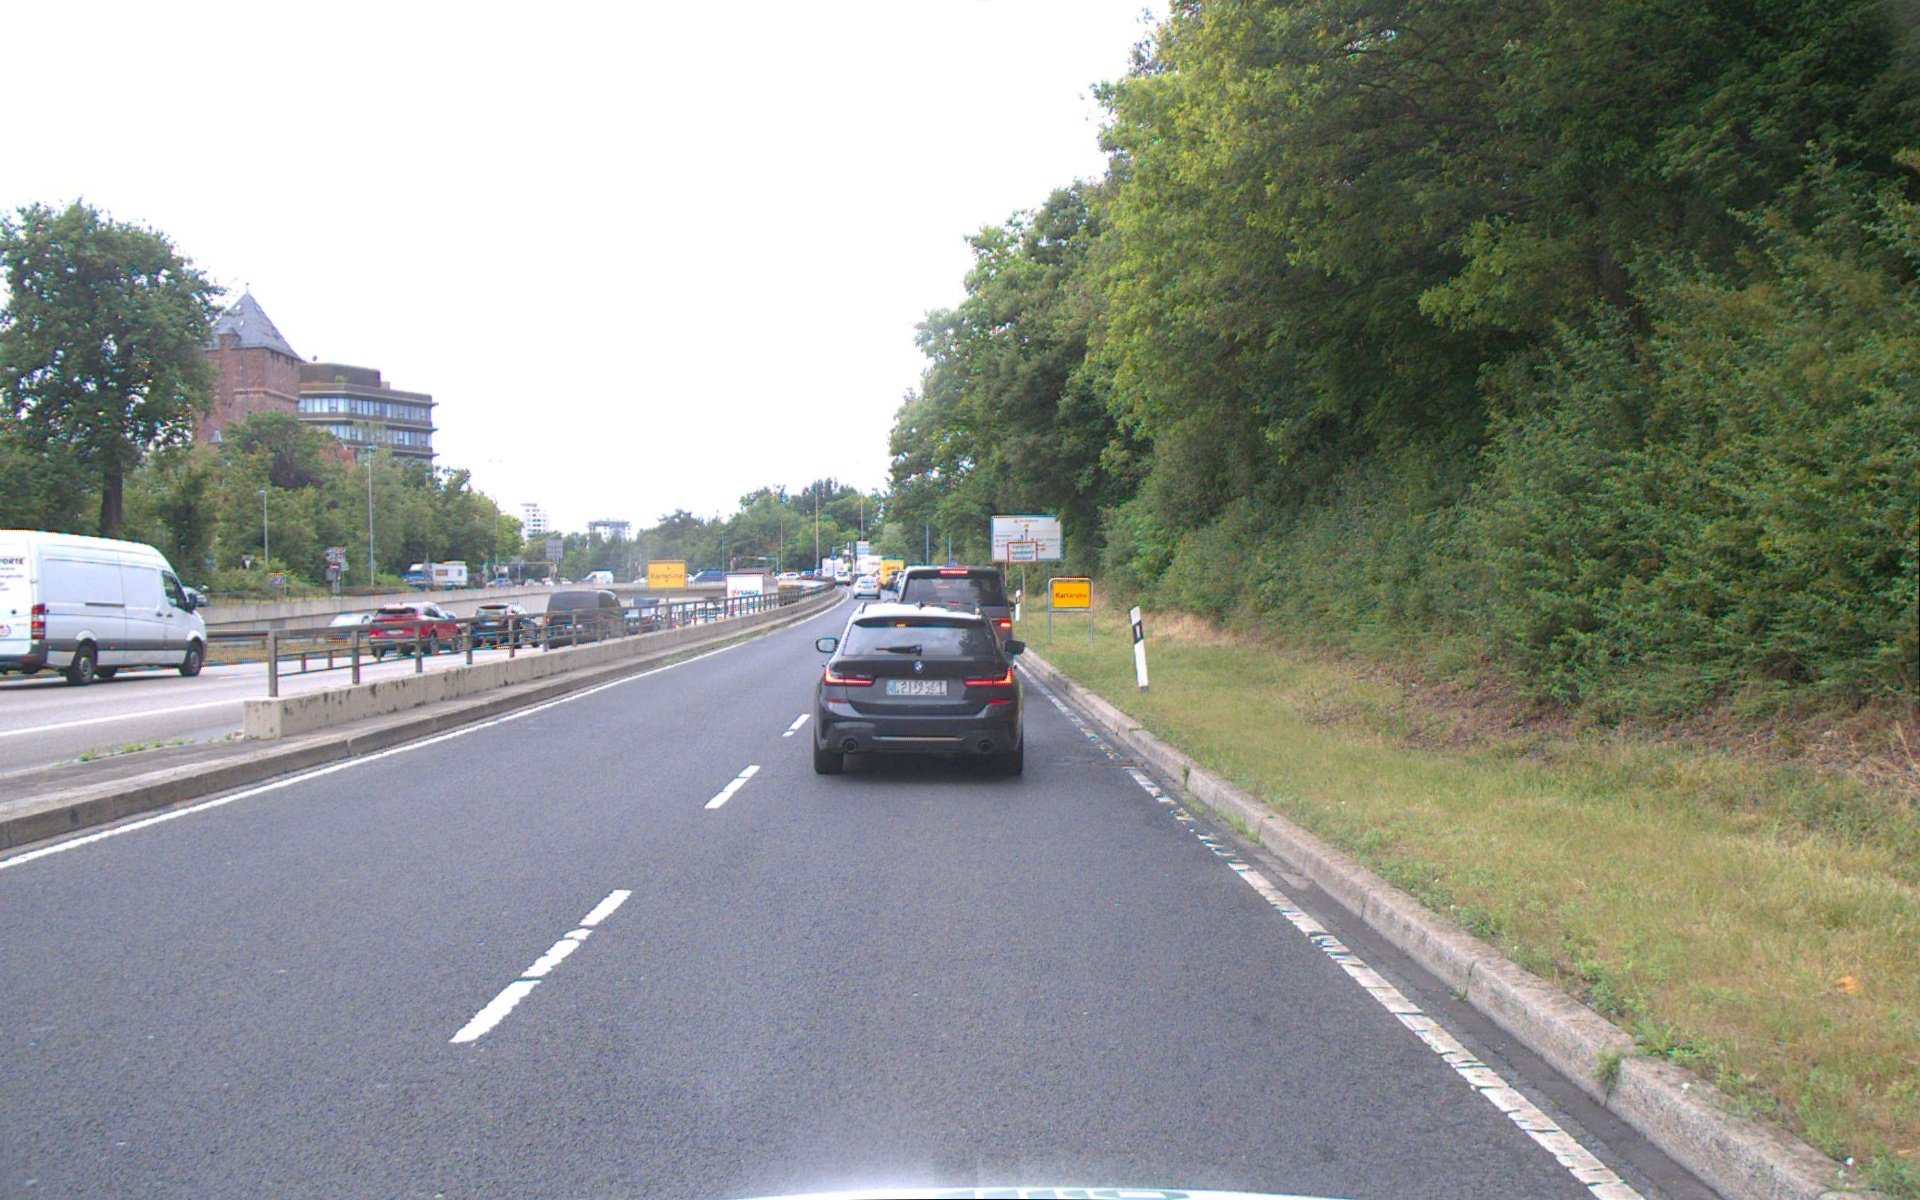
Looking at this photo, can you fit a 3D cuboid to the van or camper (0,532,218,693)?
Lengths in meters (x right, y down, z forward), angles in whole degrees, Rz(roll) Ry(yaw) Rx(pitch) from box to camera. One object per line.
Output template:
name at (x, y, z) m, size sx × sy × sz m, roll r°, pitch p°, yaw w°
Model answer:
van or camper at (-16.361, 0.195, 30.935) m, size 2.008 × 2.667 × 6.953 m, roll 0°, pitch 0°, yaw -2°

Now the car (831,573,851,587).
car at (-13.638, -2.303, 189.652) m, size 1.895 × 1.624 × 3.868 m, roll 0°, pitch 0°, yaw -9°

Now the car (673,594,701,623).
car at (-20.132, 0.591, 122.119) m, size 1.414 × 2.080 × 3.680 m, roll 0°, pitch 0°, yaw 0°

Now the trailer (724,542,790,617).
trailer at (-13.991, -1.337, 115.323) m, size 3.069 × 4.807 × 14.554 m, roll 1°, pitch 0°, yaw -1°

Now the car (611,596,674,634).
car at (-12.891, 0.595, 67.305) m, size 1.678 × 1.482 × 4.666 m, roll 0°, pitch 0°, yaw 0°

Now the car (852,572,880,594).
car at (-6.460, -1.141, 114.375) m, size 1.821 × 1.489 × 4.882 m, roll 0°, pitch 0°, yaw -2°

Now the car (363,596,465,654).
car at (-16.877, 0.744, 51.319) m, size 1.852 × 1.711 × 4.304 m, roll 0°, pitch 0°, yaw -2°

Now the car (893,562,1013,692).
car at (-0.132, 0.386, 26.194) m, size 1.759 × 1.904 × 3.999 m, roll 0°, pitch 0°, yaw -1°

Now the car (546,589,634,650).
car at (-11.954, 0.597, 53.709) m, size 1.953 × 1.883 × 4.809 m, roll 0°, pitch 0°, yaw -3°

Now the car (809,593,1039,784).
car at (-0.370, 0.689, 15.021) m, size 1.809 × 1.492 × 3.998 m, roll 0°, pitch 0°, yaw -3°

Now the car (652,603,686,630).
car at (-19.246, 1.070, 109.455) m, size 1.654 × 1.660 × 3.733 m, roll 1°, pitch 0°, yaw -2°

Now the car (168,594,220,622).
car at (-39.501, 0.392, 85.383) m, size 1.307 × 1.399 × 3.171 m, roll 0°, pitch 0°, yaw -2°

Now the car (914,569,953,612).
car at (-1.006, -0.361, 62.540) m, size 1.423 × 1.567 × 3.224 m, roll 0°, pitch 0°, yaw -1°

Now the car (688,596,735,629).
car at (-13.227, 0.637, 88.241) m, size 1.906 × 1.721 × 4.506 m, roll 0°, pitch 0°, yaw -1°

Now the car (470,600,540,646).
car at (-17.147, 0.827, 62.472) m, size 1.653 × 1.636 × 4.006 m, roll 1°, pitch 0°, yaw -2°

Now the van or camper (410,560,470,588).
van or camper at (-52.799, -2.672, 168.140) m, size 1.887 × 2.683 × 5.629 m, roll 1°, pitch 0°, yaw 42°

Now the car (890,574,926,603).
car at (-2.767, -0.608, 87.795) m, size 1.821 × 1.489 × 4.532 m, roll 0°, pitch 0°, yaw -2°
